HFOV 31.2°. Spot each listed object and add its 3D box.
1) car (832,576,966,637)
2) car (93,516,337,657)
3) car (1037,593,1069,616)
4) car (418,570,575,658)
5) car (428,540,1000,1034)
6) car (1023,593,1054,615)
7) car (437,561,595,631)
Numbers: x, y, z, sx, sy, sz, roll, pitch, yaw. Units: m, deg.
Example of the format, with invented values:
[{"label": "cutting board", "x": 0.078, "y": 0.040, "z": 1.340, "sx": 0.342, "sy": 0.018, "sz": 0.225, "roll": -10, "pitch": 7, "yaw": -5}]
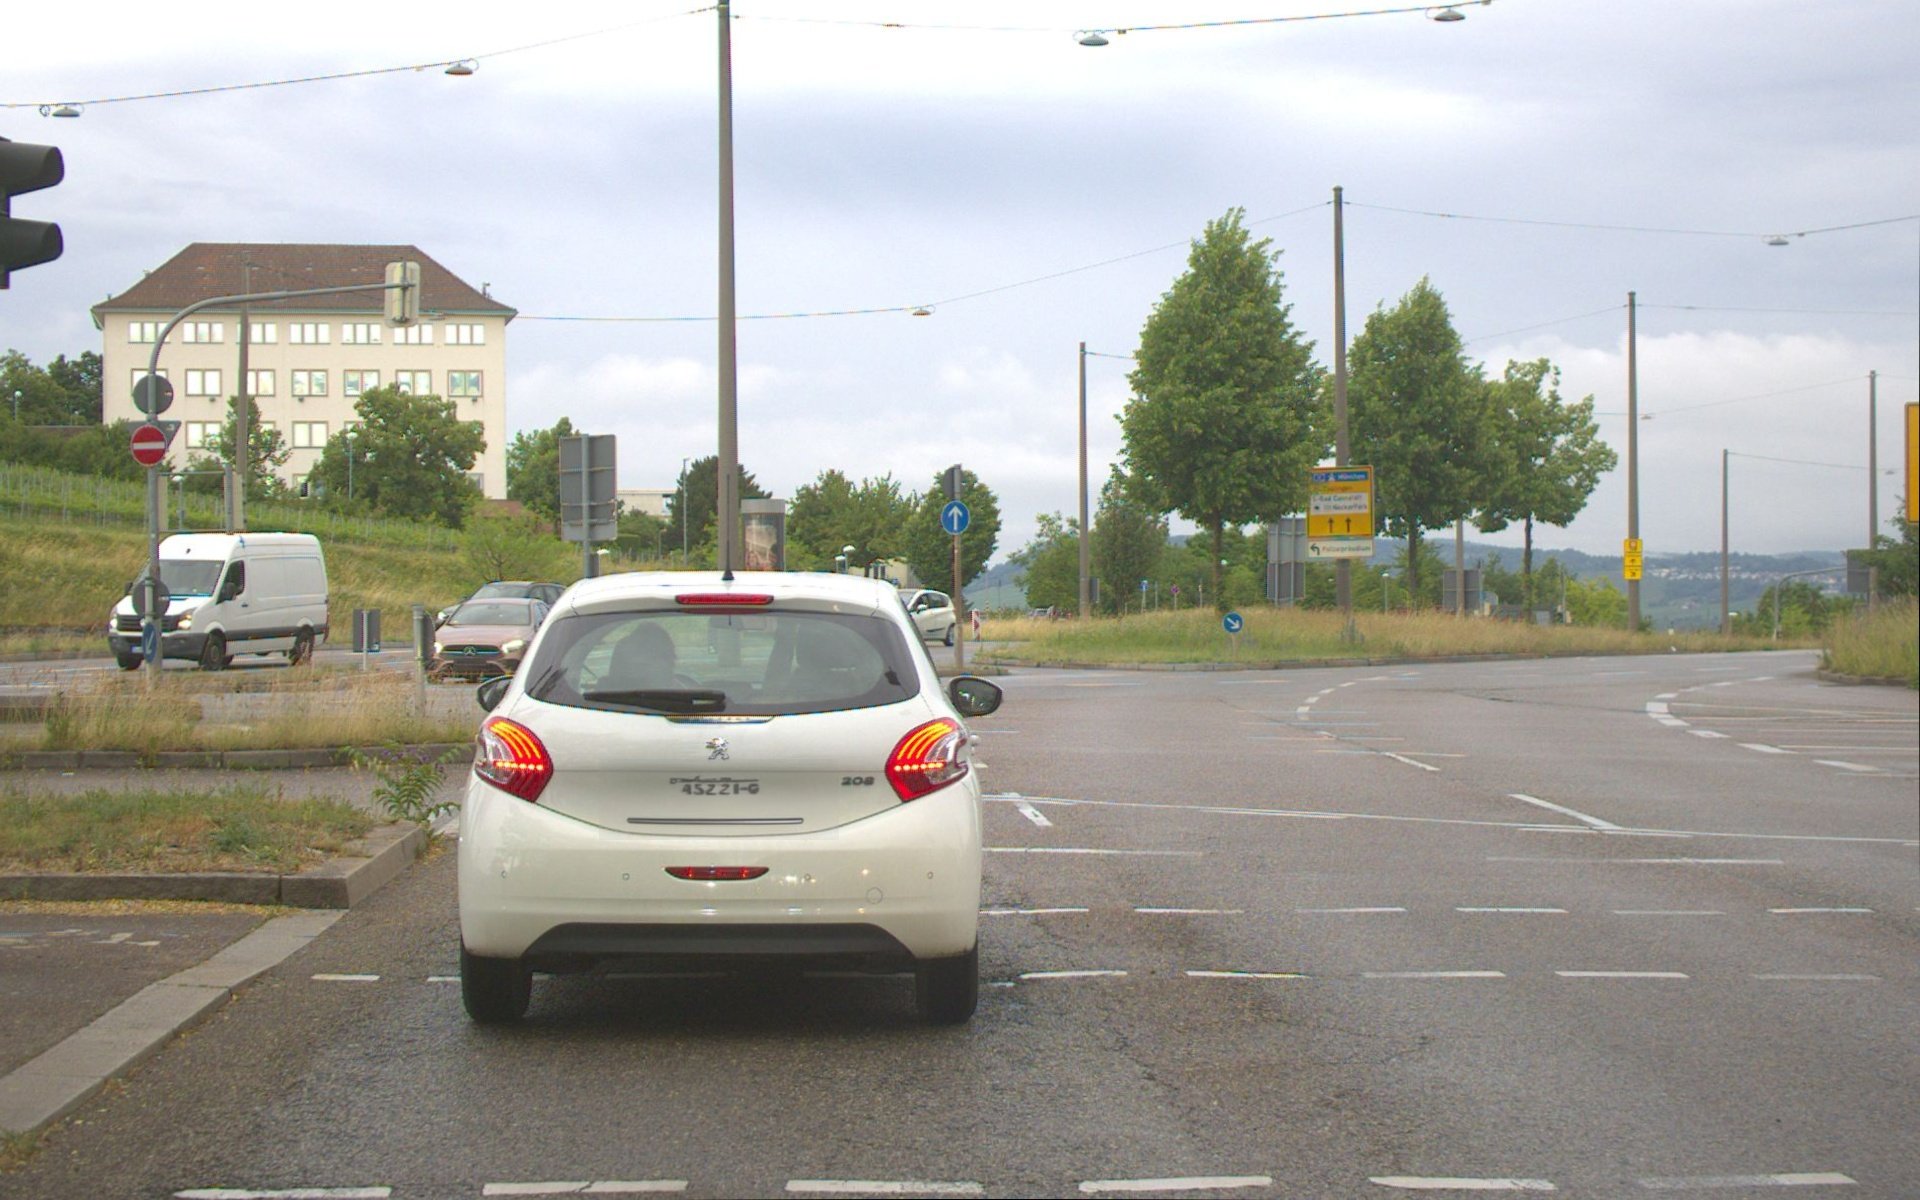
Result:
[{"label": "car", "x": -1.575, "y": 0.190, "z": 90.174, "sx": 1.753, "sy": 1.507, "sz": 3.994, "roll": 2, "pitch": 0, "yaw": 28}, {"label": "car", "x": -14.413, "y": -0.238, "z": 66.990, "sx": 1.995, "sy": 2.550, "sz": 6.165, "roll": 2, "pitch": 0, "yaw": 15}, {"label": "car", "x": 6.318, "y": 0.312, "z": 232.927, "sx": 1.841, "sy": 1.481, "sz": 4.001, "roll": 0, "pitch": 1, "yaw": -3}, {"label": "car", "x": -7.784, "y": 0.224, "z": 58.041, "sx": 1.776, "sy": 1.420, "sz": 4.373, "roll": 0, "pitch": 0, "yaw": 4}, {"label": "car", "x": -0.810, "y": 0.564, "z": 12.472, "sx": 1.717, "sy": 1.484, "sz": 4.000, "roll": 1, "pitch": 0, "yaw": -2}, {"label": "car", "x": 5.525, "y": 0.267, "z": 241.302, "sx": 1.841, "sy": 1.481, "sz": 4.001, "roll": 0, "pitch": 1, "yaw": -3}, {"label": "car", "x": -10.175, "y": -0.080, "z": 79.082, "sx": 1.995, "sy": 1.507, "sz": 4.228, "roll": 2, "pitch": 0, "yaw": 17}]
